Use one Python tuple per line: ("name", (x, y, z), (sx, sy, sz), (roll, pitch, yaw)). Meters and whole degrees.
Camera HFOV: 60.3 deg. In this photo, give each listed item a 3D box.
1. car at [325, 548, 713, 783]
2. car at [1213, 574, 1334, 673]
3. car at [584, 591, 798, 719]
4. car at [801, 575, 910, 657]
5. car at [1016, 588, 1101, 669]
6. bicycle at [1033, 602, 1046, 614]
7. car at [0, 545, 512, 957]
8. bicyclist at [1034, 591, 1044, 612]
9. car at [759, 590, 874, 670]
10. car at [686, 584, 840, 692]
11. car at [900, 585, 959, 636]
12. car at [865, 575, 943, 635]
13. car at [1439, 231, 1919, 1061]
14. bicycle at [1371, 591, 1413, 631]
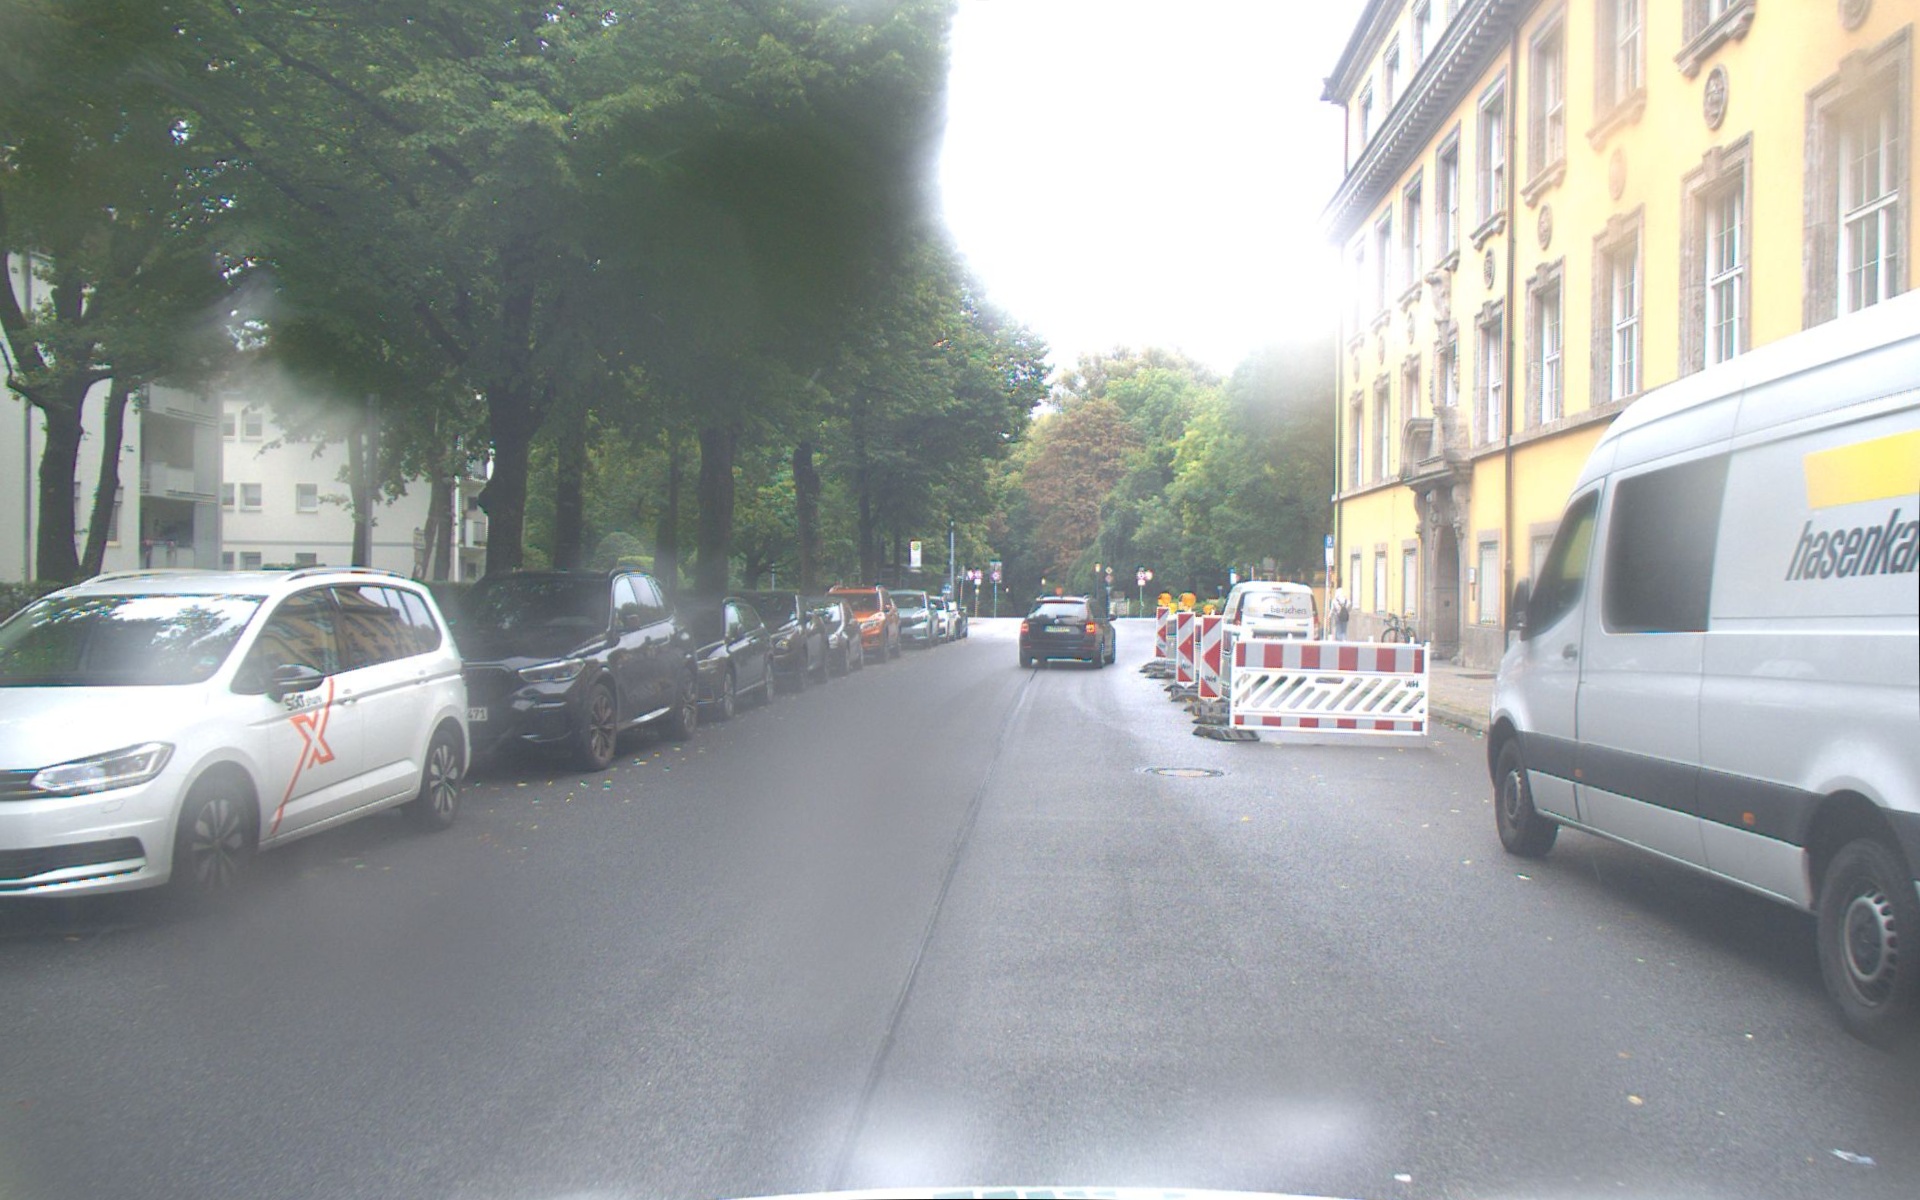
("car", (-3.854, 0.515, 15.495), (1.951, 1.828, 4.923), (-1, 0, 5))
("car", (6.023, 0.447, 32.159), (1.703, 1.780, 4.357), (0, -1, 3))
("car", (-3.360, 0.626, 21.570), (1.682, 1.476, 4.698), (0, 0, 5))
("car", (-2.347, 0.344, 38.241), (1.833, 1.758, 4.644), (0, 0, 5))
("car", (2.123, 0.559, 34.905), (1.544, 1.611, 4.047), (0, 0, 7))
("bicycle", (5.917, 0.595, 123.291), (0.666, 0.844, 2.107), (0, -1, -5))
("car", (-4.112, 0.634, 8.980), (1.728, 1.650, 4.525), (-2, 0, 5))
("bicyclist", (5.890, 0.096, 123.439), (0.667, 1.530, 0.900), (0, 0, -5))
("car", (-2.755, 0.538, 32.652), (1.691, 1.447, 4.253), (0, 1, 3))
("car", (-3.106, 0.545, 26.962), (1.749, 1.602, 4.488), (0, 1, 3))
("car", (-0.938, 0.317, 52.593), (1.544, 1.523, 4.201), (0, 0, 4))
("car", (-1.533, 0.125, 47.102), (1.777, 1.629, 4.515), (0, 0, 4))
("car", (4.220, 0.154, 7.662), (2.012, 2.720, 7.616), (0, 0, 2))
("bicycle", (11.306, 0.274, 43.327), (0.666, 1.024, 2.058), (0, 0, 4))
